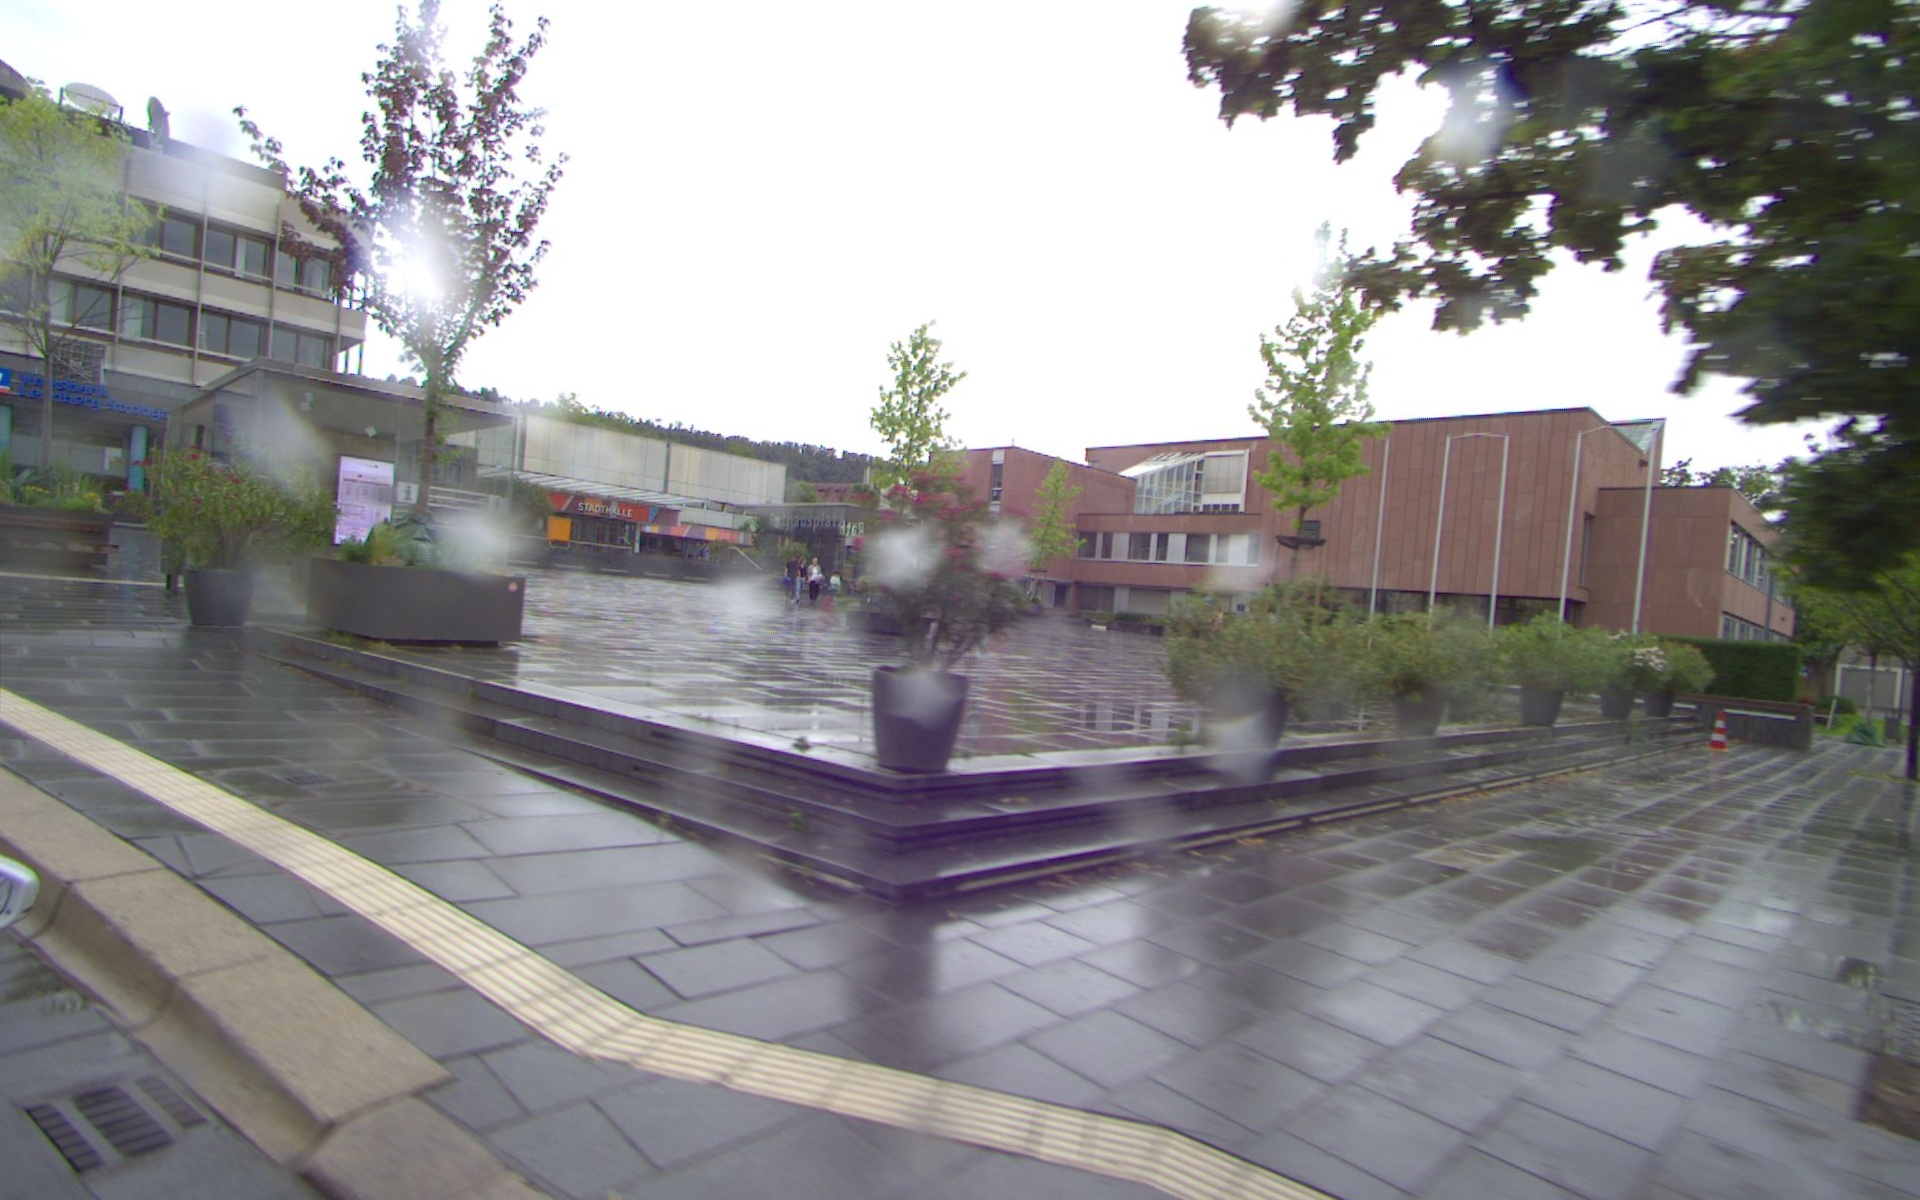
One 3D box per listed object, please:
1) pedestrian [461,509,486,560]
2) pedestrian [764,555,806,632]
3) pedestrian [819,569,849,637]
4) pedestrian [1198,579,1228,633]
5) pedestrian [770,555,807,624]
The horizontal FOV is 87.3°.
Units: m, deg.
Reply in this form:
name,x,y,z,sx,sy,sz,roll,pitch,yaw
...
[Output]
name,x,y,z,sx,sy,sz,roll,pitch,yaw
pedestrian,-21.719,-2.926,44.894,0.754,2.176,0.651,3,3,-40
pedestrian,-6.420,-0.227,36.843,1.048,2.720,0.823,3,3,-40
pedestrian,-4.717,0.113,37.671,0.731,2.471,0.562,3,3,-45
pedestrian,11.340,0.261,45.153,0.788,2.339,0.898,7,3,41
pedestrian,-6.398,-0.403,37.536,0.936,2.471,0.767,3,3,-43
